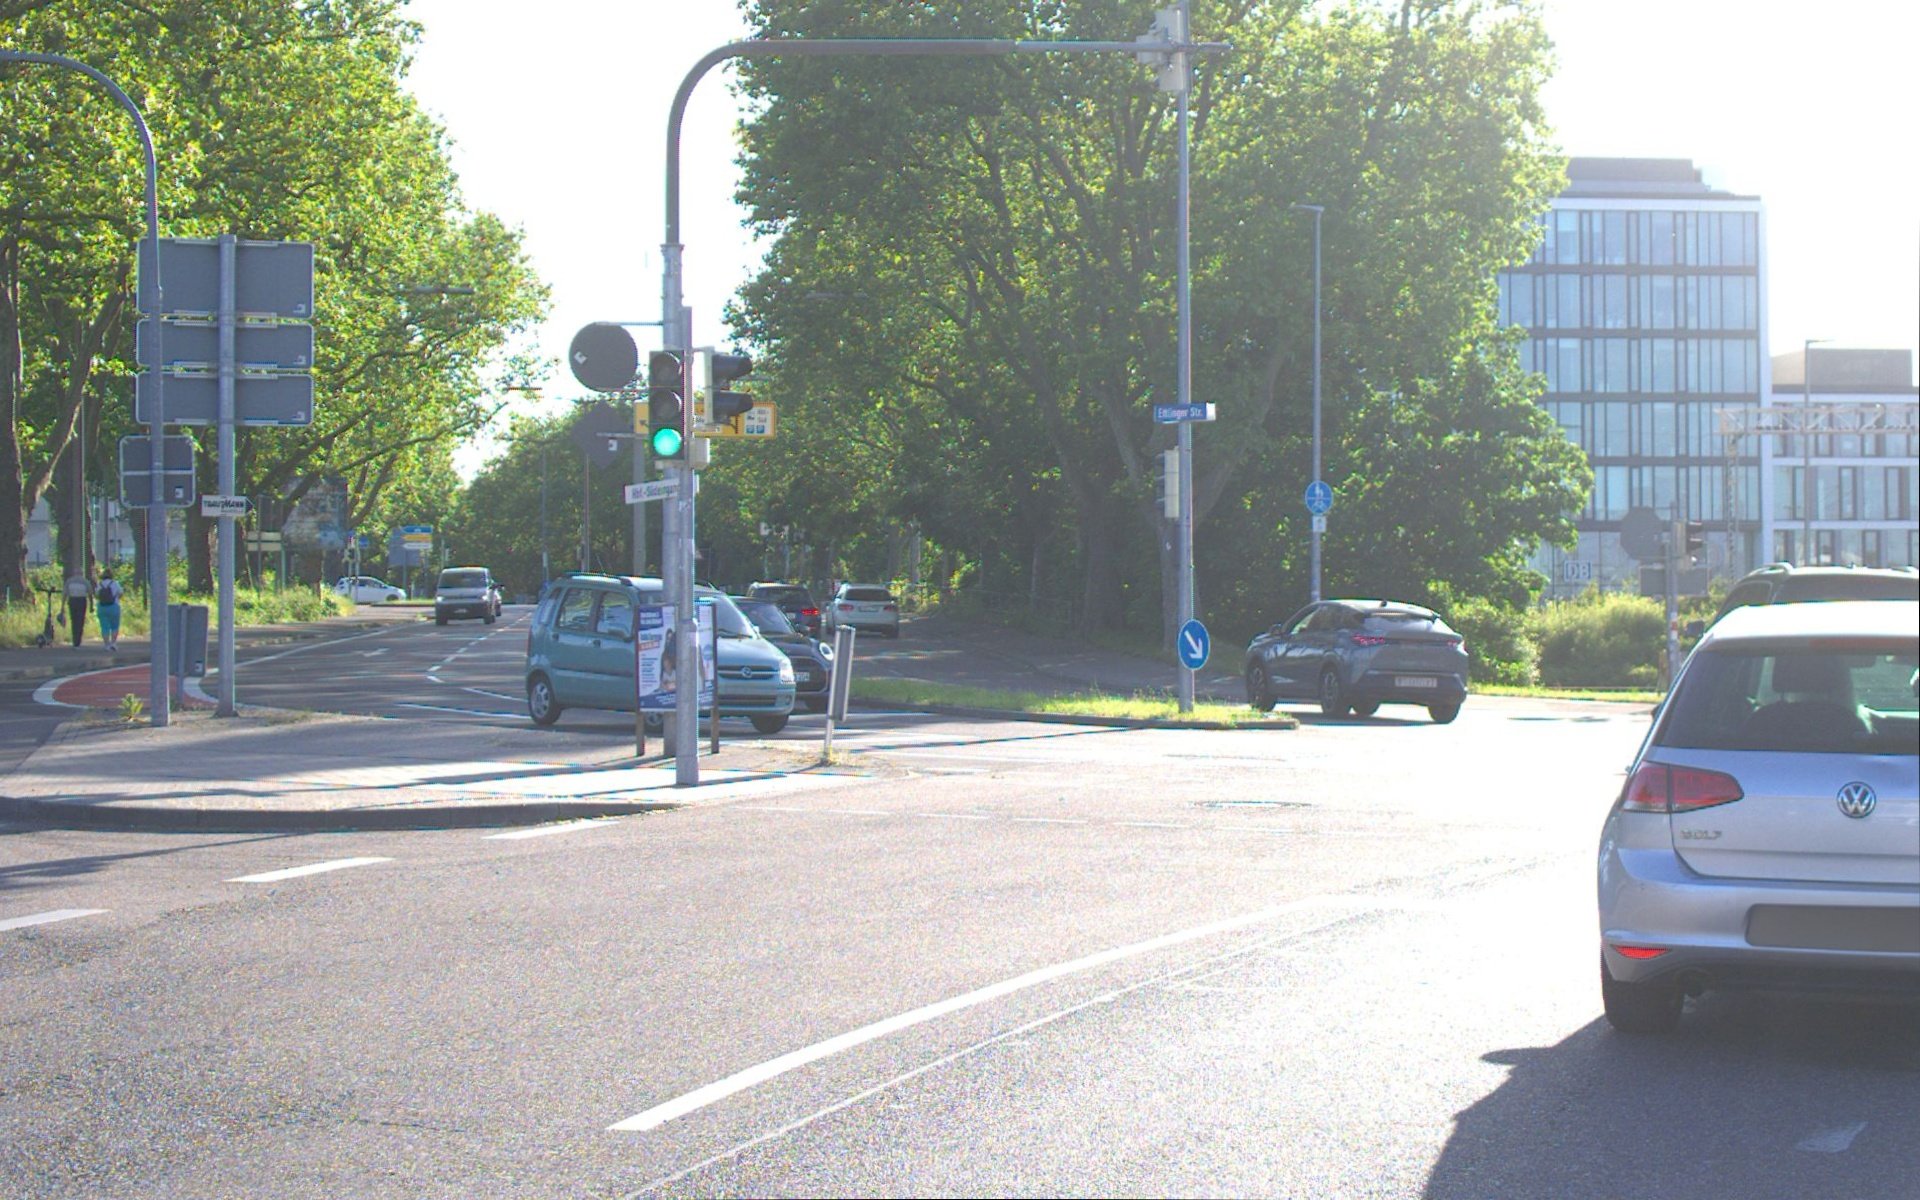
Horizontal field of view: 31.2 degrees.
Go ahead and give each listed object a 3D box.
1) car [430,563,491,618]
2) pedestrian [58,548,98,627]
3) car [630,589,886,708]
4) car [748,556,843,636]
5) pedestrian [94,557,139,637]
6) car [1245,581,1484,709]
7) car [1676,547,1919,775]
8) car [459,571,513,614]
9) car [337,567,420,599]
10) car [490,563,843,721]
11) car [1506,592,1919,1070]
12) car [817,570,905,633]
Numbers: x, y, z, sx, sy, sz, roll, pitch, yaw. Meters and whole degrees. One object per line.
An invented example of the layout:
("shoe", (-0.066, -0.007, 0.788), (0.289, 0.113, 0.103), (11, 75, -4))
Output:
("car", (-16.125, -0.314, 111.142), (1.853, 1.737, 4.267), (0, 0, -7))
("pedestrian", (-17.616, -0.248, 68.672), (0.663, 1.581, 0.631), (1, 0, -5))
("car", (-2.656, 0.602, 44.346), (1.902, 1.422, 3.937), (1, 0, -26))
("car", (-3.703, -0.093, 76.895), (1.853, 1.737, 4.267), (1, 0, -6))
("pedestrian", (-16.848, -0.054, 68.672), (0.728, 1.586, 0.804), (1, 0, -5))
("car", (5.614, 0.605, 48.296), (1.941, 1.707, 4.202), (1, 0, -14))
("car", (7.933, 0.517, 31.067), (2.113, 1.881, 4.812), (1, 0, 3))
("car", (-18.373, -0.287, 133.323), (1.853, 1.593, 4.326), (1, 0, -5))
("car", (-30.166, -0.901, 178.286), (3.986, 1.634, 2.001), (0, 0, -18))
("car", (-3.290, 0.436, 37.880), (1.915, 1.630, 4.120), (1, 0, -38))
("car", (3.302, 0.700, 12.267), (1.972, 1.422, 3.933), (1, 0, 20))
("car", (-2.715, 0.035, 93.781), (1.853, 1.644, 4.267), (1, 0, -9))
